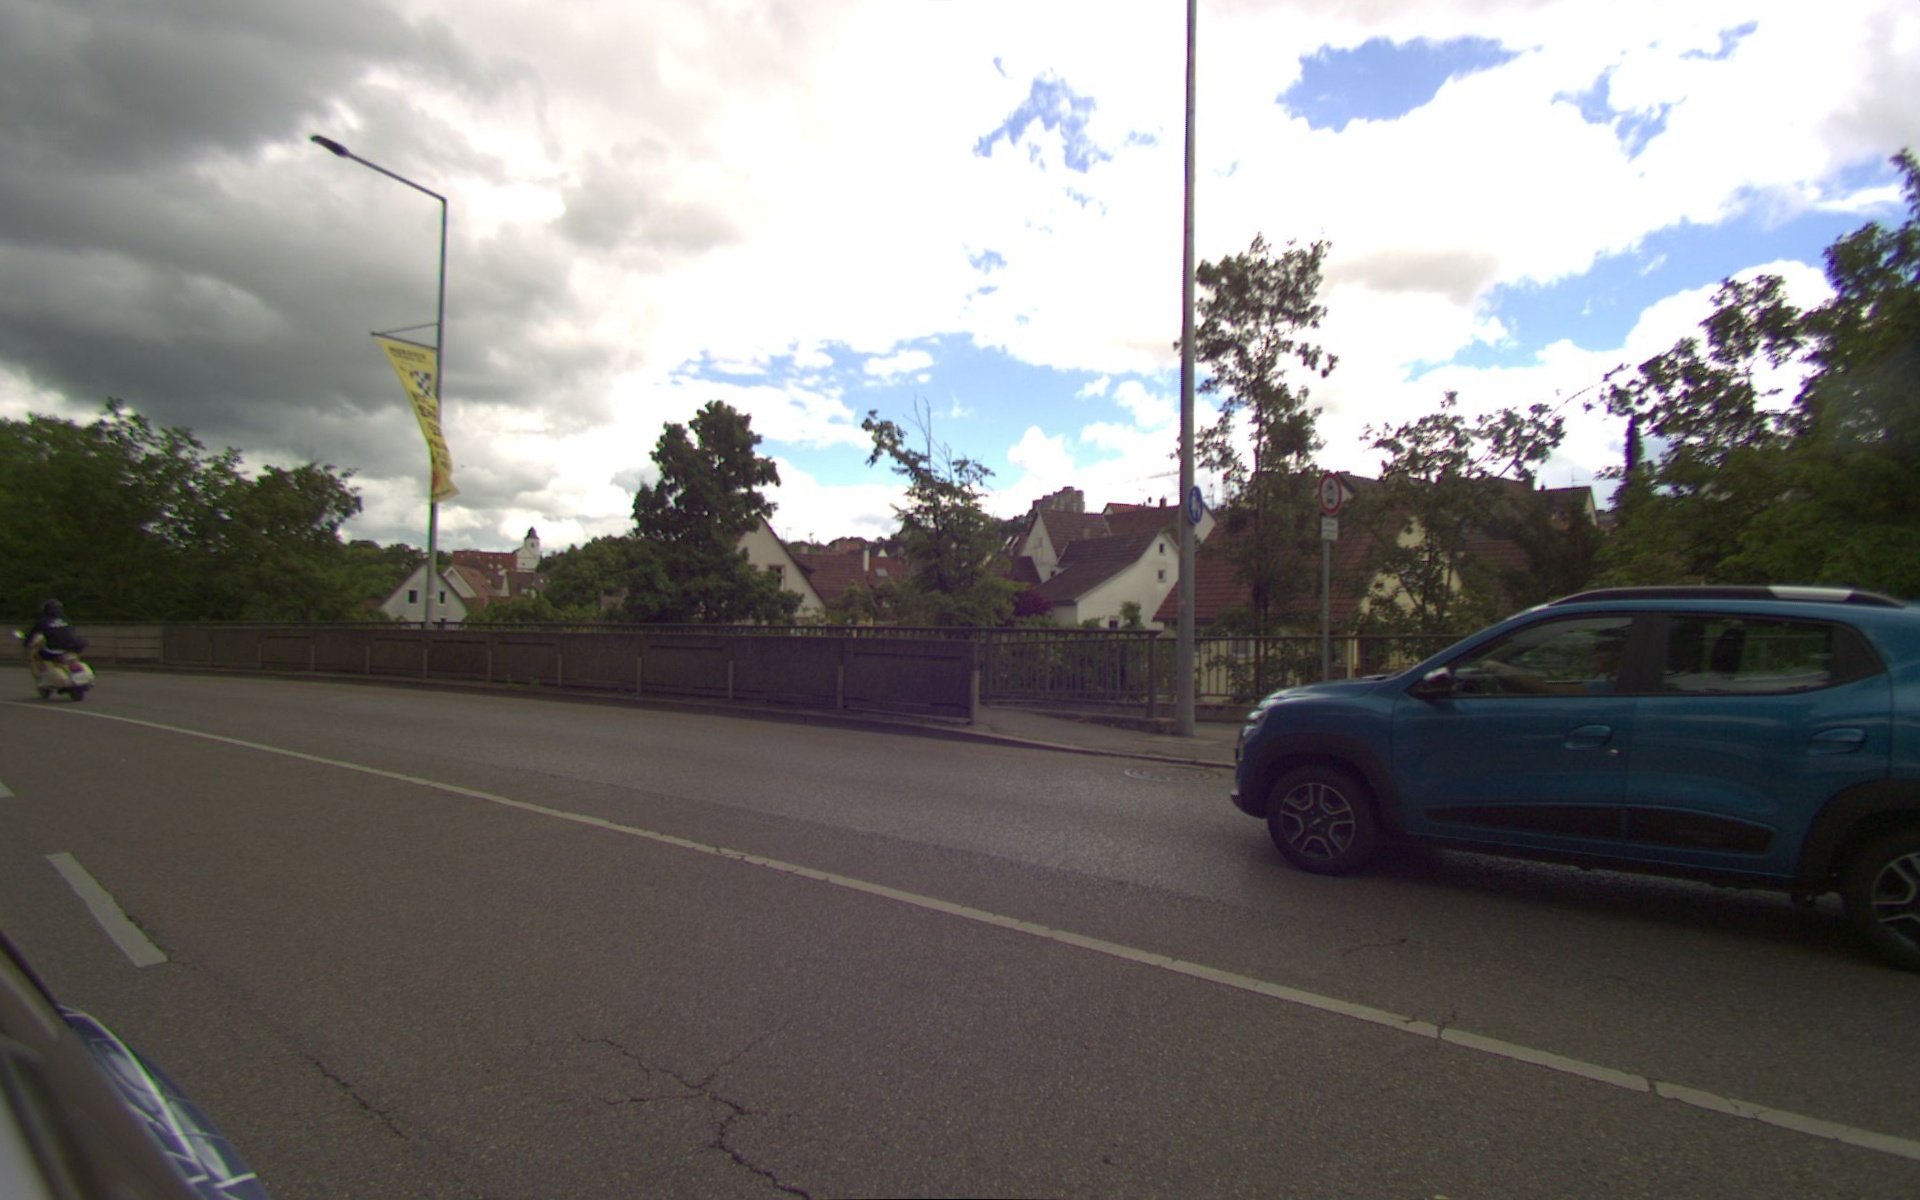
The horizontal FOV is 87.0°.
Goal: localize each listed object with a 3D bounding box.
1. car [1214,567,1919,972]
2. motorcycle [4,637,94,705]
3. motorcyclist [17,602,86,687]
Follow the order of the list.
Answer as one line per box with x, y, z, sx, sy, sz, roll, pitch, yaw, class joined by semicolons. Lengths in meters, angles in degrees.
3.312;0.641;4.967;3.693;1.497;1.565;-1;-1;40;car
-15.240;1.159;16.922;1.714;1.069;0.677;-1;-2;33;motorcycle
-15.091;0.729;16.812;0.837;1.366;0.614;-1;-2;32;motorcyclist
